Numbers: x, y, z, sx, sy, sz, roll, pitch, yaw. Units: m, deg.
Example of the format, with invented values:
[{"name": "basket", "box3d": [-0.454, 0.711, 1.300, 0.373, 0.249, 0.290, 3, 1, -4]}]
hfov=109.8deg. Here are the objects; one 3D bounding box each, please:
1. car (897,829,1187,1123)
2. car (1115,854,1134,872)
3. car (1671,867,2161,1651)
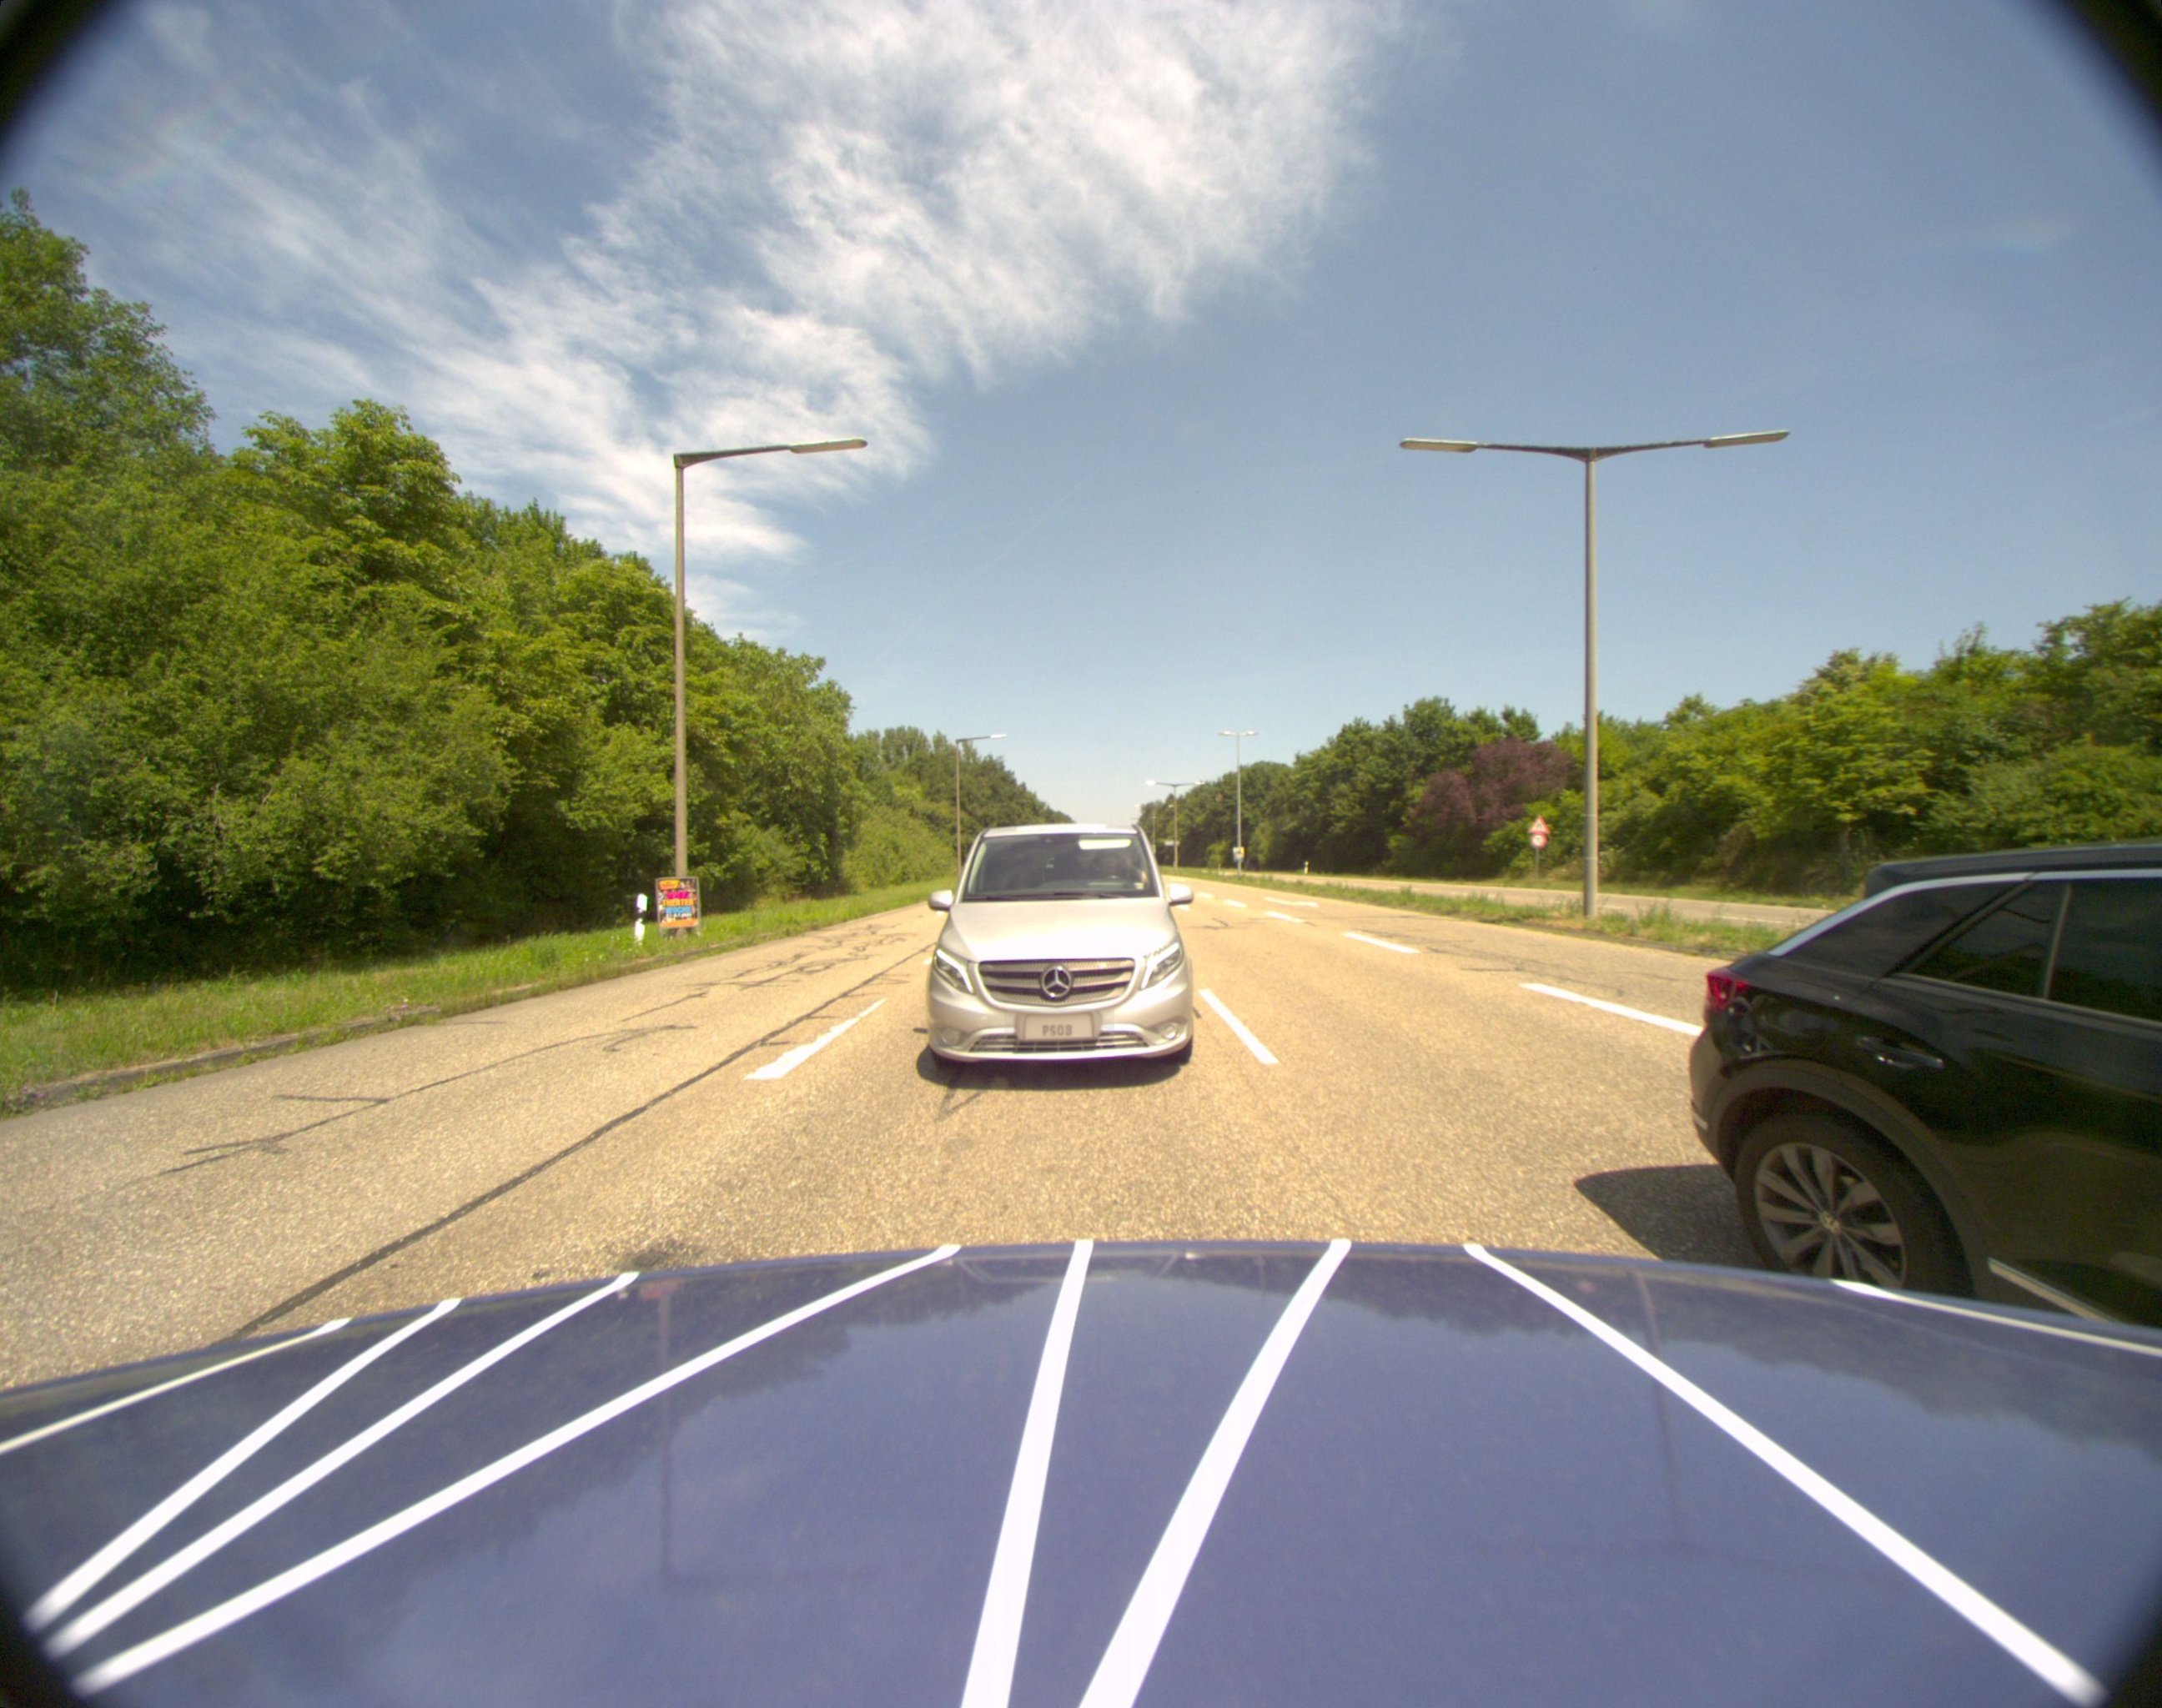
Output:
[{"name": "car", "box3d": [-0.211, 0.768, 7.208, 1.764, 1.794, 4.855, -2, 0, 1]}, {"name": "car", "box3d": [4.617, 0.928, 80.809, 1.736, 1.815, 4.321, -1, 0, -1]}, {"name": "car", "box3d": [3.037, 0.852, 0.815, 1.739, 1.503, 3.970, -2, 1, 1]}]
